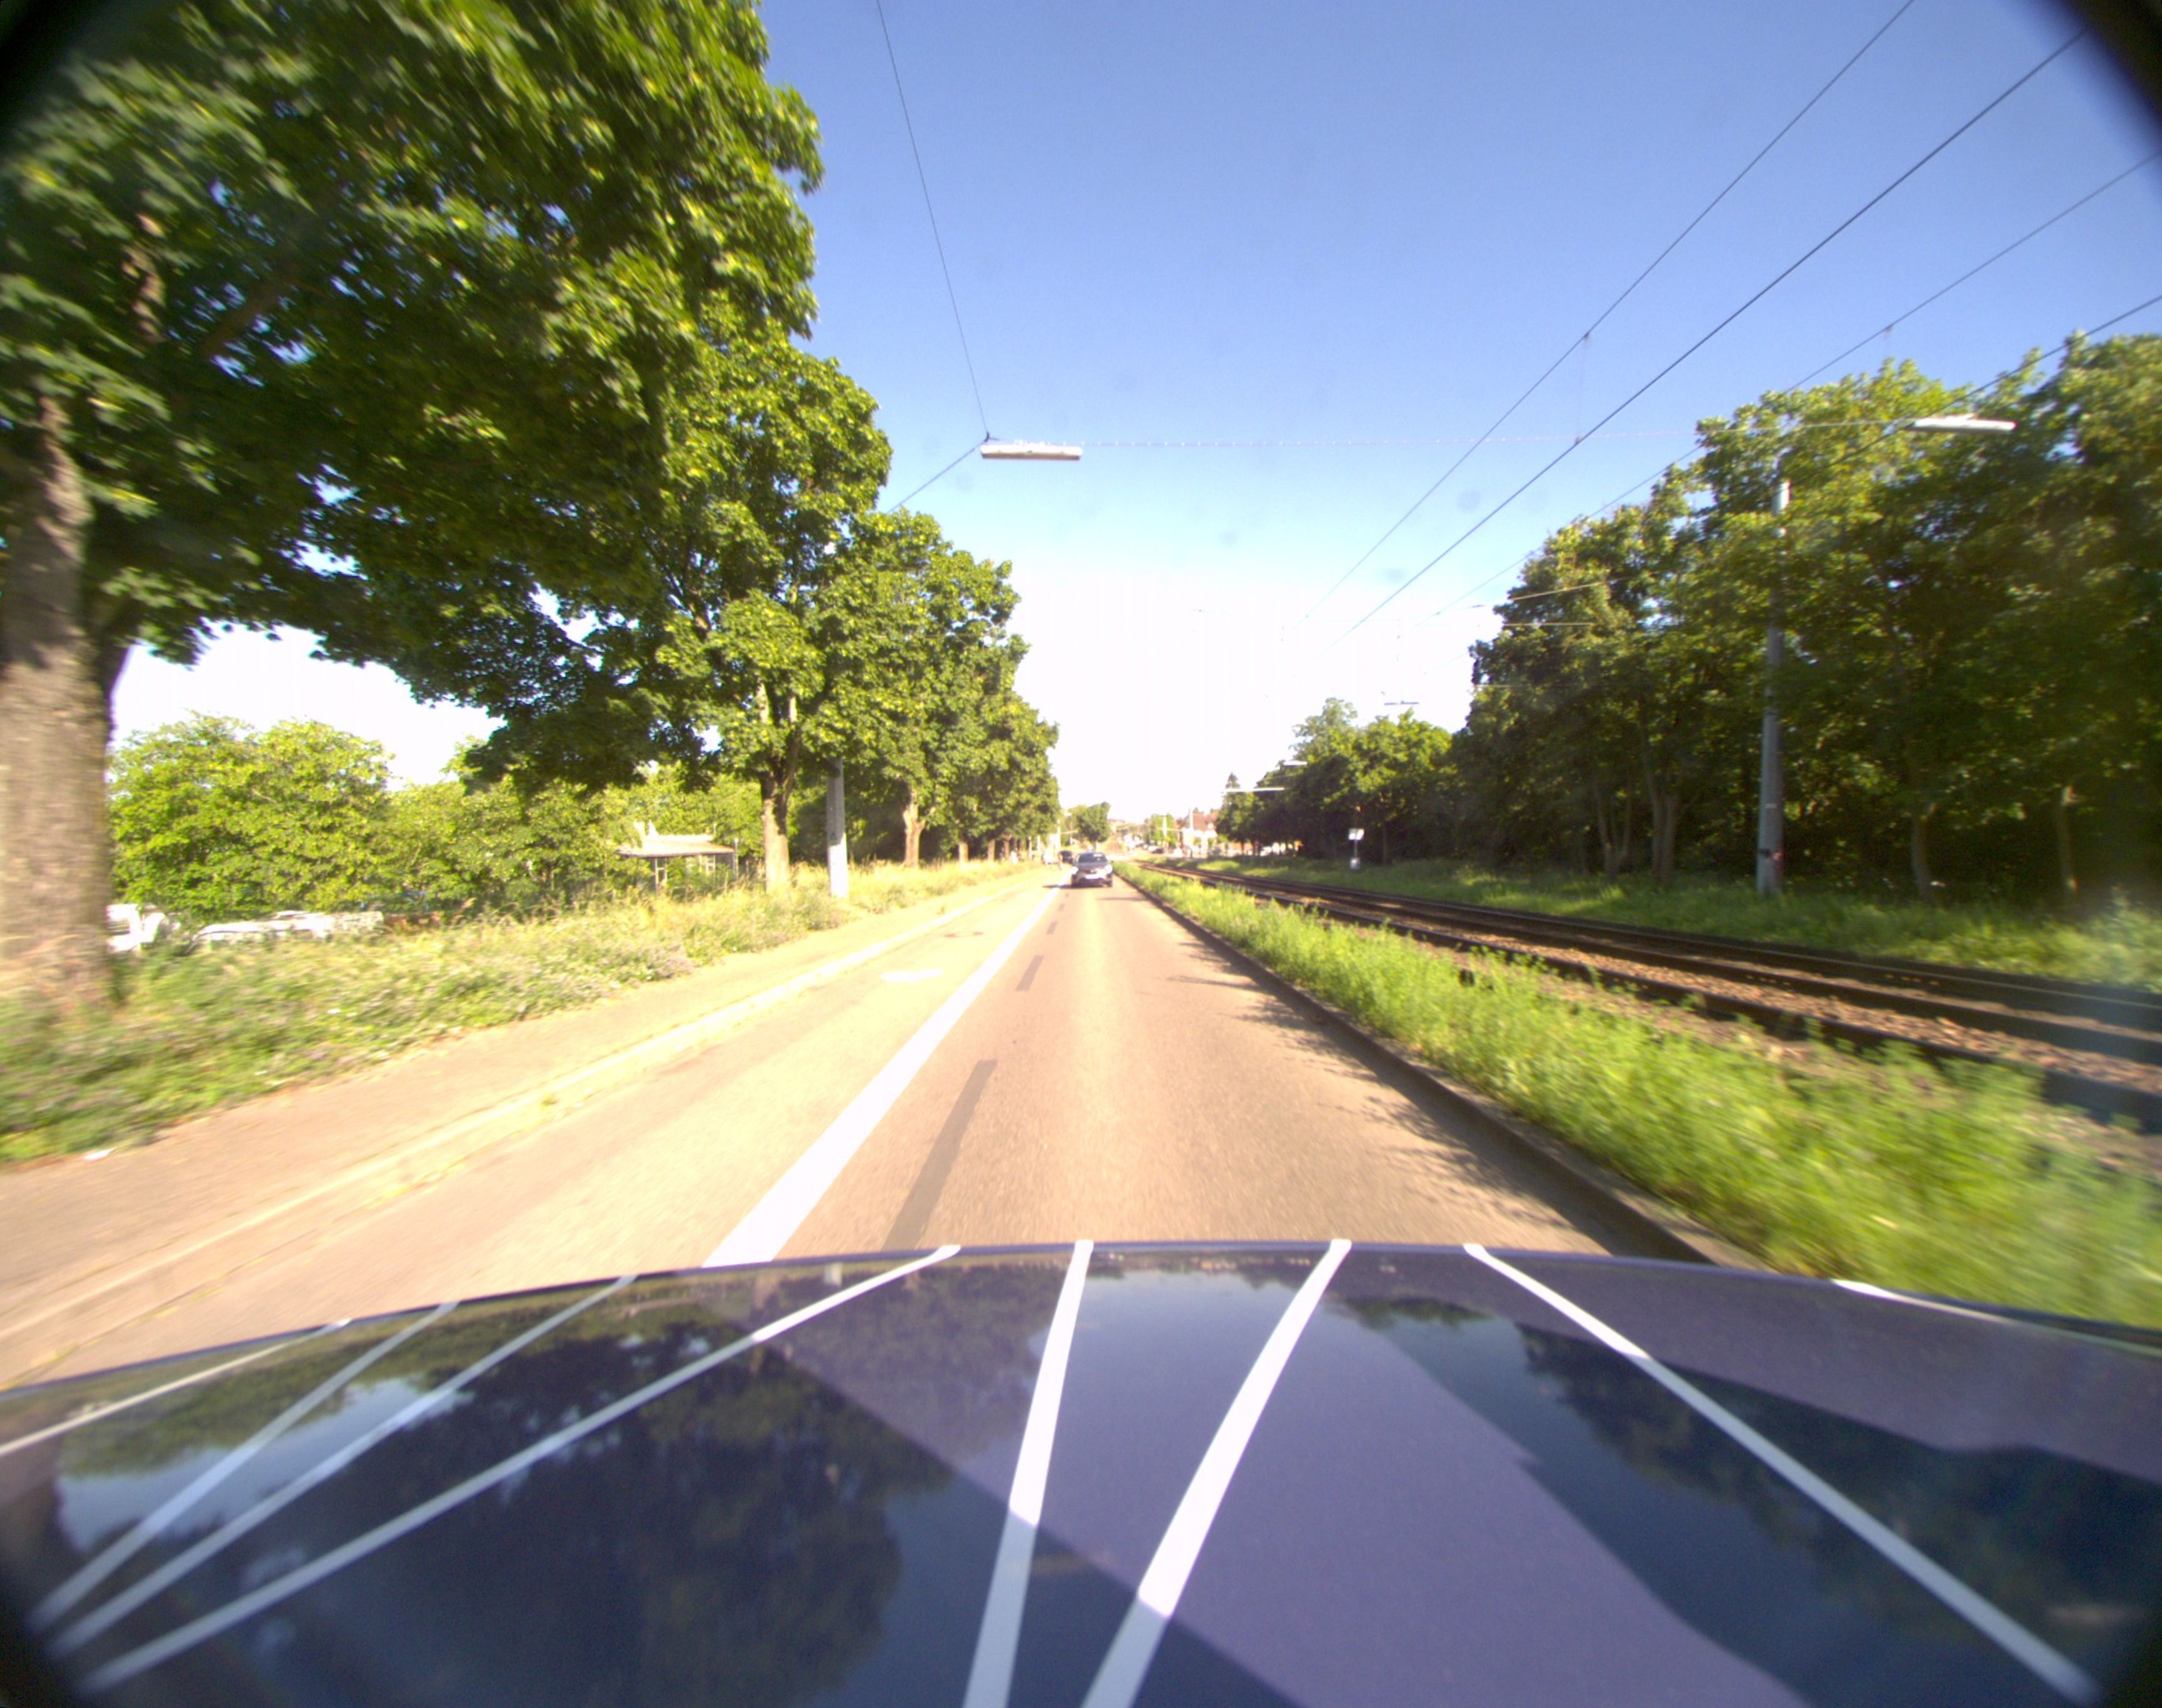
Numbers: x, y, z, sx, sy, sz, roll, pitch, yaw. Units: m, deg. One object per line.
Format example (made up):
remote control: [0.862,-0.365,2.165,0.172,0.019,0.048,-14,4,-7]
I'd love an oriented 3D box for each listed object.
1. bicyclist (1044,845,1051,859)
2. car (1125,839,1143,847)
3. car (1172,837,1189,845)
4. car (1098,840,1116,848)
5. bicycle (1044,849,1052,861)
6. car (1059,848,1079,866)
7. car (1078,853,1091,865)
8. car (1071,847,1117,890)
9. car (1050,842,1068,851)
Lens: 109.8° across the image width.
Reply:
bicyclist: [-3.825,-0.258,87.513,0.655,1.575,0.698,-3,1,1]
car: [13.388,-2.815,192.575,4.003,1.936,1.968,-3,1,-19]
car: [25.697,-3.416,196.164,4.003,1.936,1.968,-3,1,-19]
car: [6.552,-2.472,189.926,4.003,1.936,1.968,-3,1,-19]
bicycle: [-3.805,0.082,87.472,0.647,1.344,2.240,-3,1,1]
car: [-1.168,0.278,75.738,1.814,1.625,4.127,-3,1,1]
car: [0.424,0.613,92.303,1.563,1.279,3.455,-3,1,1]
car: [0.567,0.559,33.013,1.814,1.625,4.709,-1,1,1]
car: [-5.414,-1.913,188.097,4.003,1.936,1.968,-3,1,-19]
